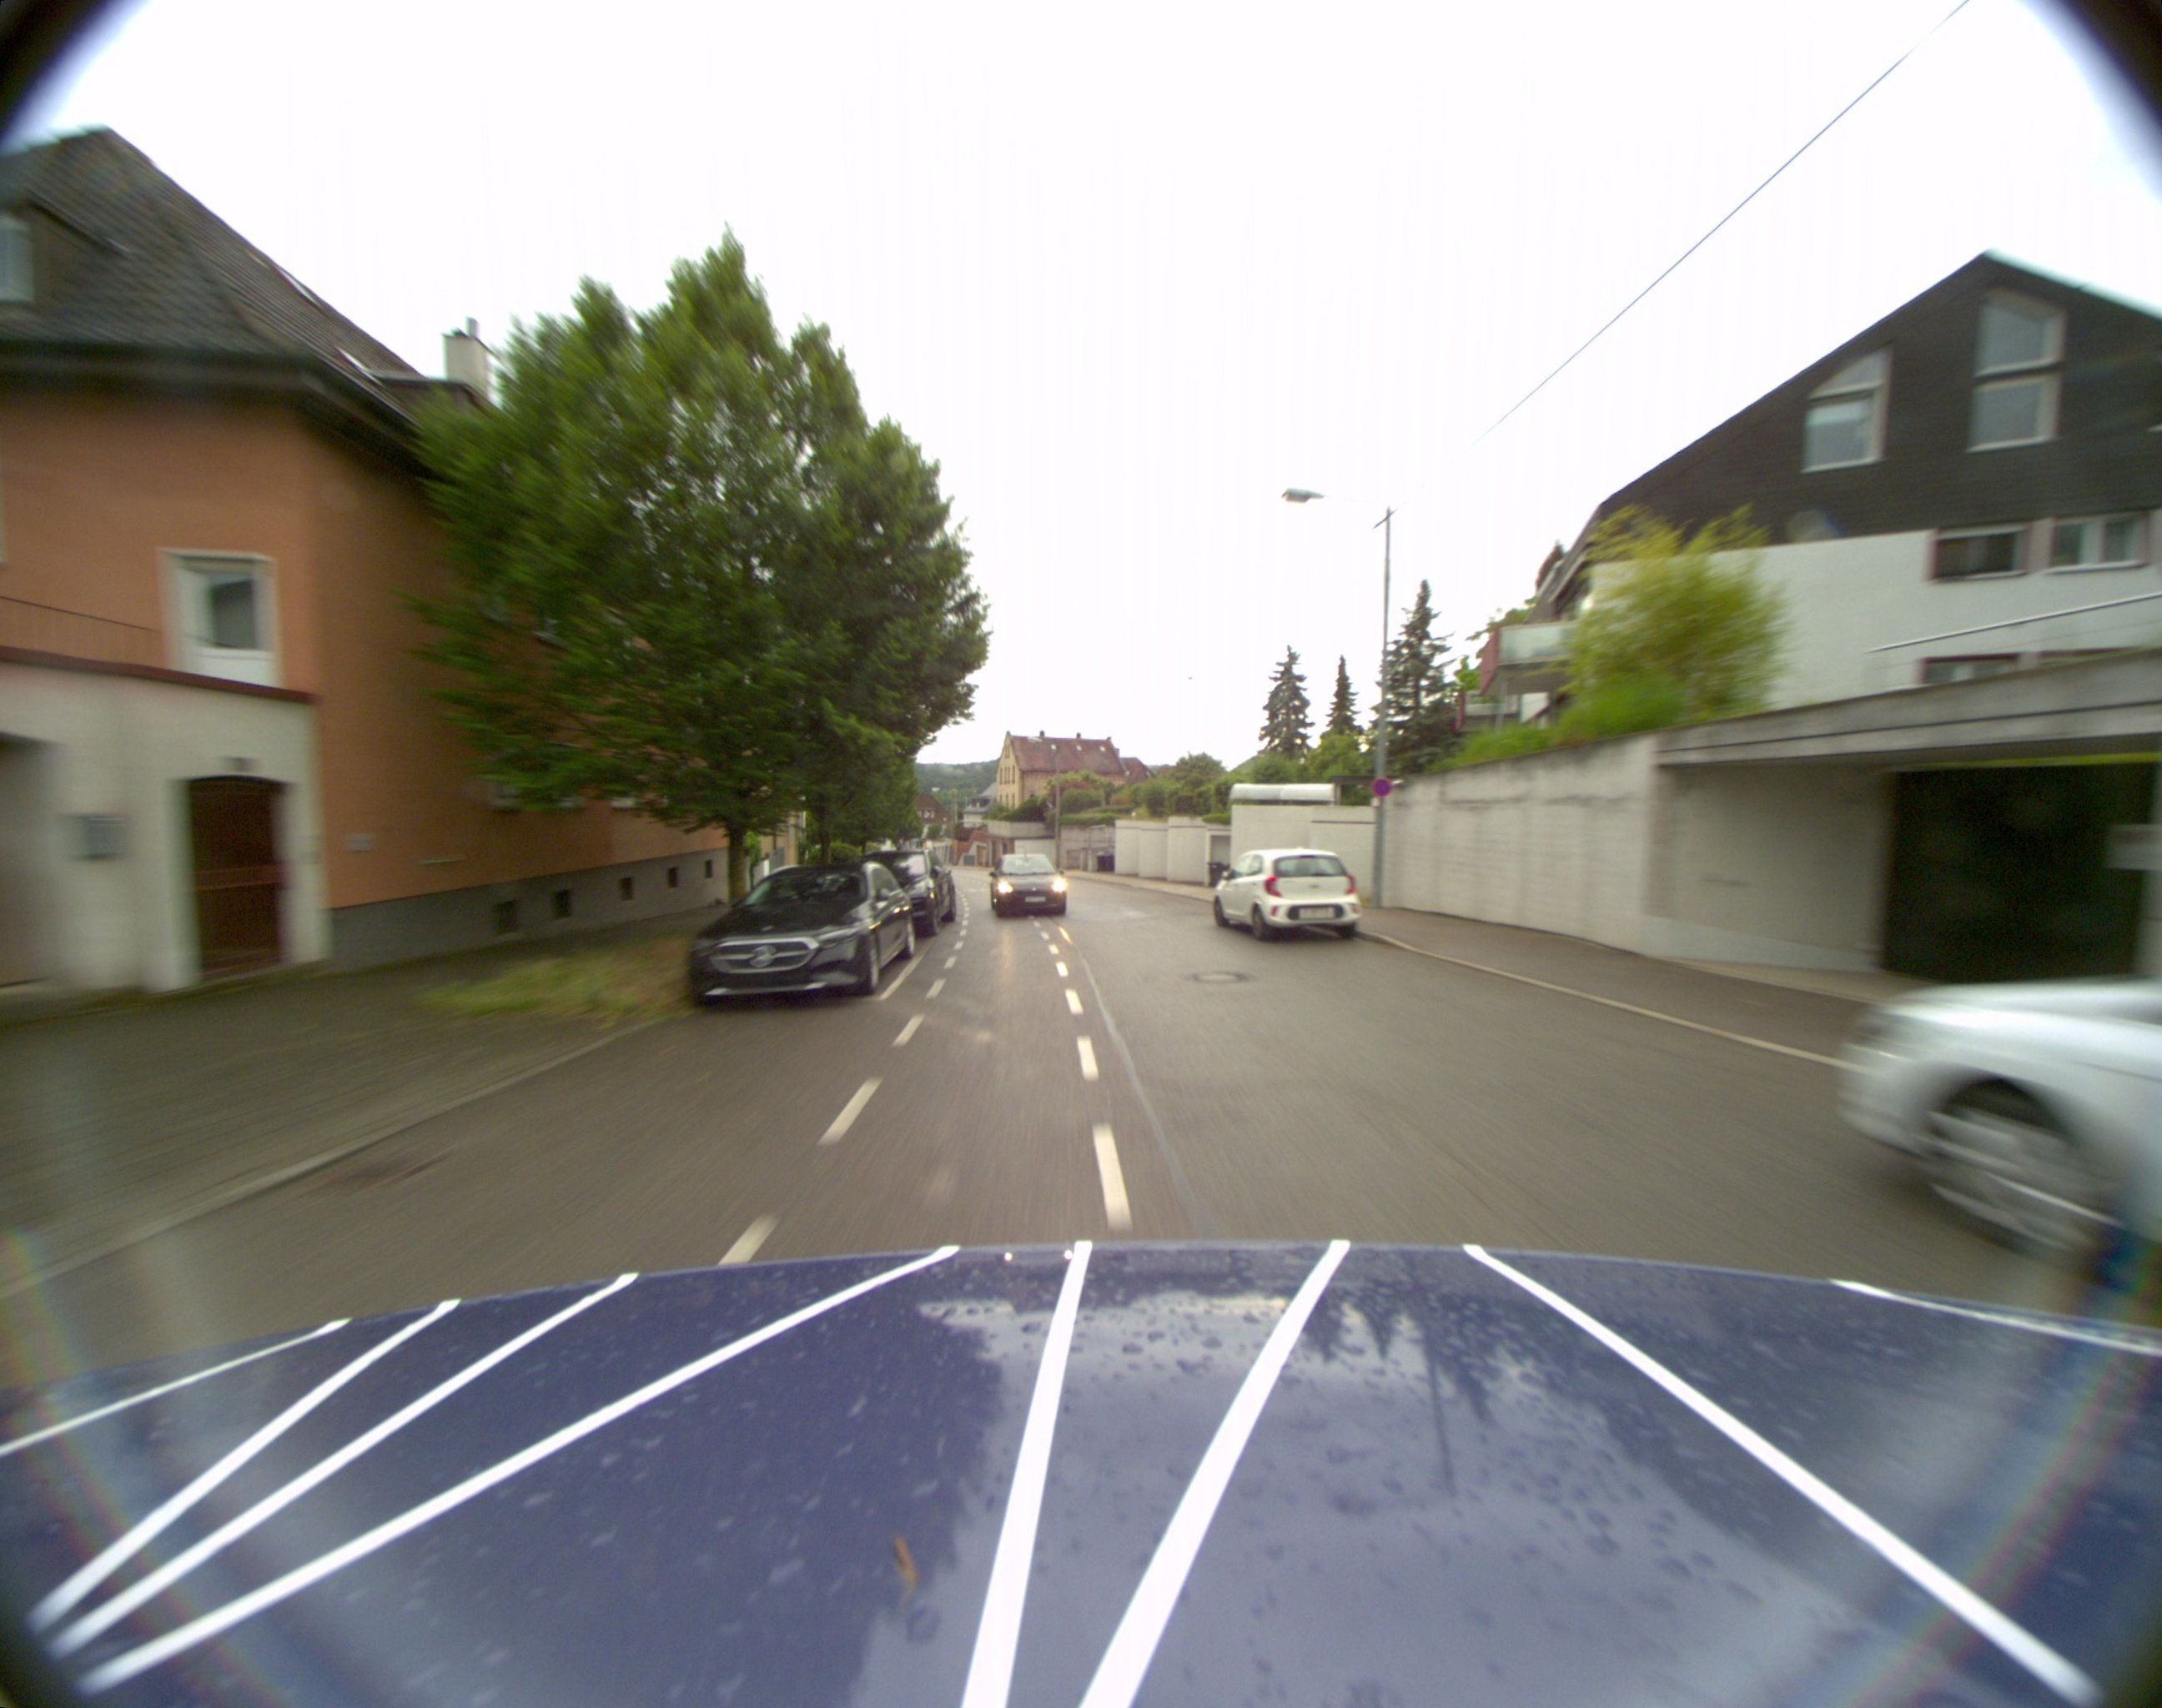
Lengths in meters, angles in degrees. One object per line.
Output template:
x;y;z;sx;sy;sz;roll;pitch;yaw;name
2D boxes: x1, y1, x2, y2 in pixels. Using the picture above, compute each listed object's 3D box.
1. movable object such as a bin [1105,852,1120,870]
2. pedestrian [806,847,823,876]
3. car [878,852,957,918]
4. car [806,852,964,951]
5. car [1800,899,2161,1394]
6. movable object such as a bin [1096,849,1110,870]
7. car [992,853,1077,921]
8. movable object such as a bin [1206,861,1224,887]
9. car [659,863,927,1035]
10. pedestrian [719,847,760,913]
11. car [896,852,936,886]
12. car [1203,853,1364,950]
1.769;0.376;43.128;0.608;0.986;0.602;-2;1;25;movable object such as a bin
-15.616;0.443;44.581;0.836;1.676;1.043;2;0;-17;pedestrian
-4.406;0.752;20.940;1.861;1.572;4.853;-1;0;-10;car
-3.768;0.805;15.665;2.059;1.646;5.234;-1;0;-2;car
4.232;0.934;1.444;1.837;1.431;4.039;0;0;-1;car
1.251;0.312;43.381;0.527;1.140;0.602;-1;2;25;movable object such as a bin
-1.291;0.749;19.447;1.894;1.521;4.054;-1;0;-7;car
4.992;0.749;28.245;0.543;0.957;0.647;-1;1;21;movable object such as a bin
-3.283;0.943;9.884;1.867;1.460;5.053;-3;1;-5;car
-9.125;0.688;20.317;0.763;1.710;0.901;2;0;-10;pedestrian
-8.057;0.683;36.973;1.663;1.481;3.995;-2;1;-15;car
3.470;0.733;13.735;1.632;1.507;3.830;0;0;-5;car
